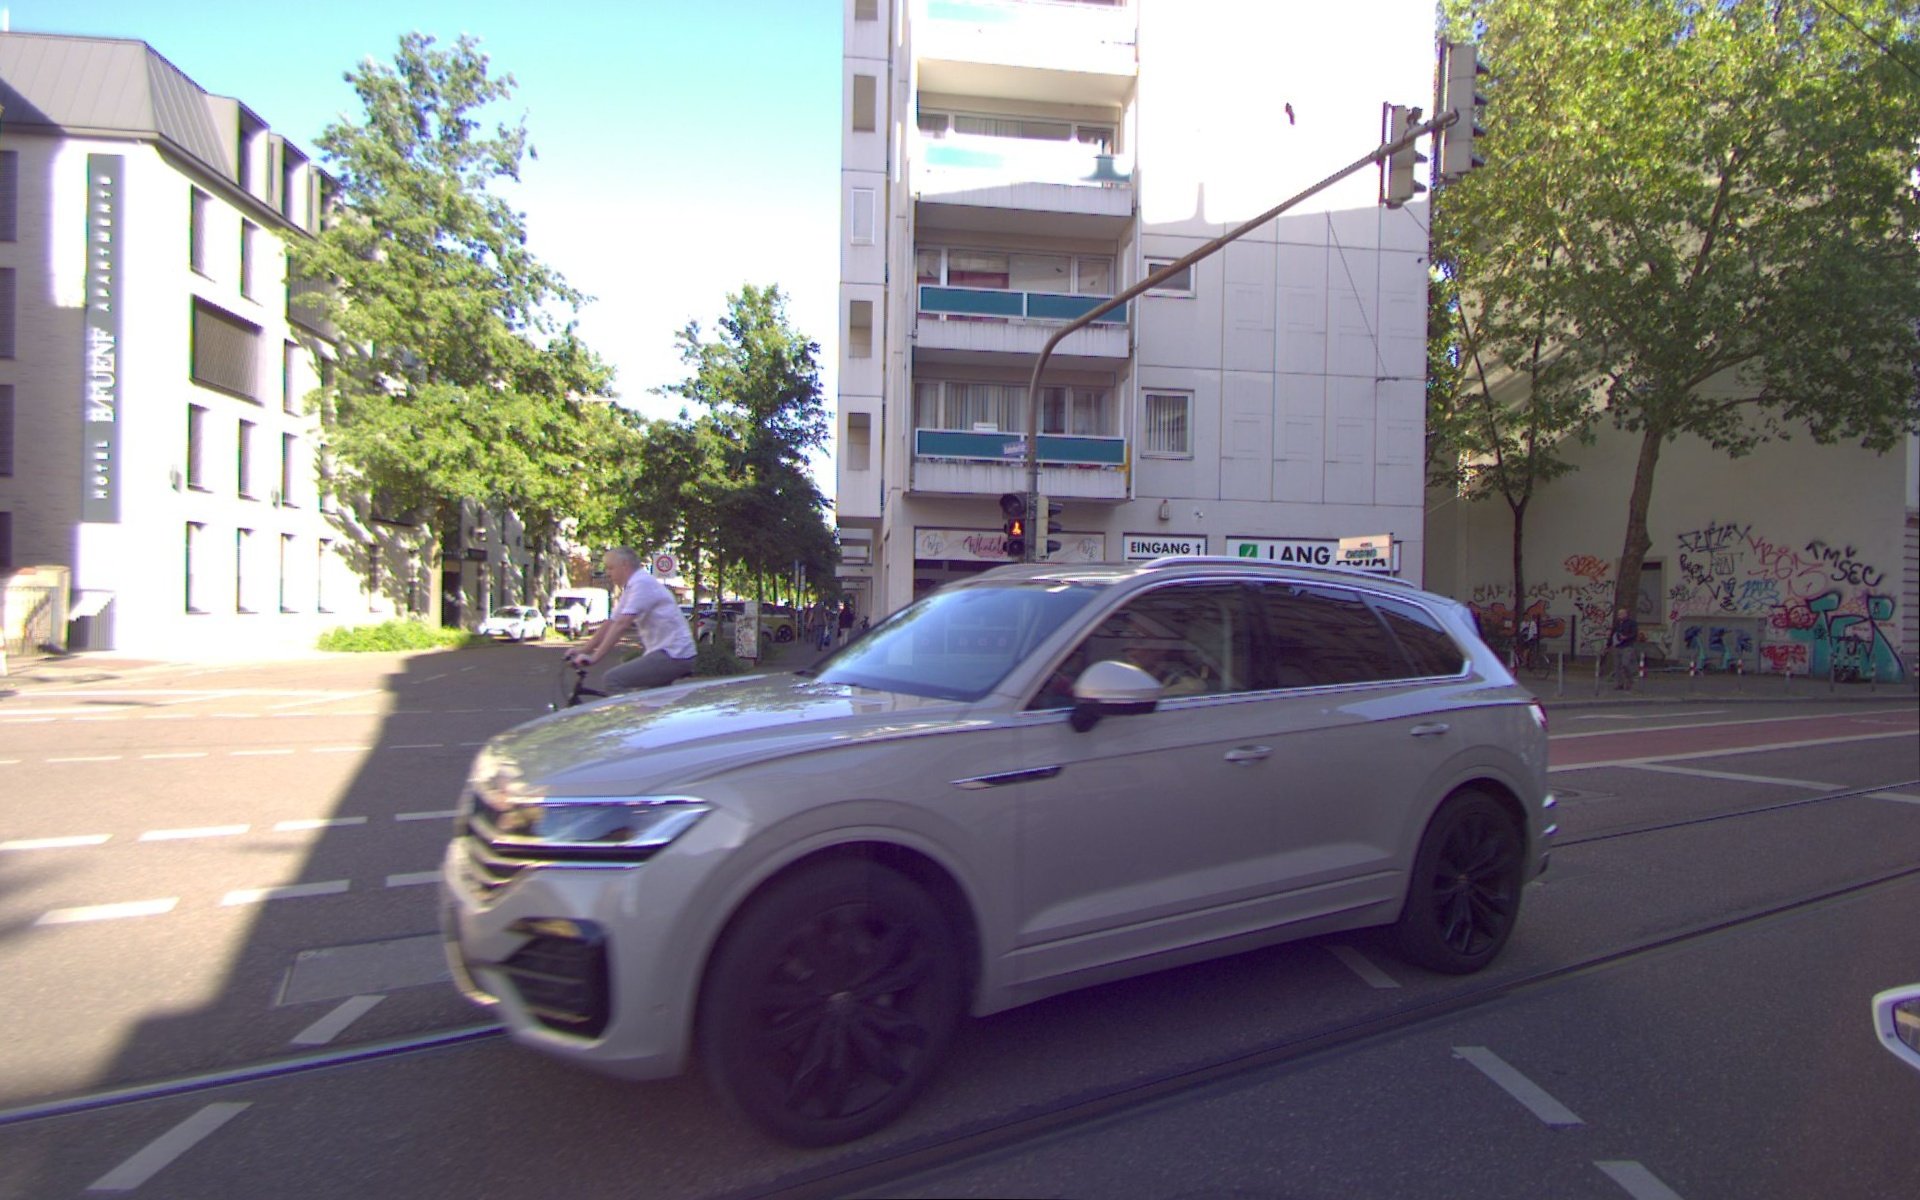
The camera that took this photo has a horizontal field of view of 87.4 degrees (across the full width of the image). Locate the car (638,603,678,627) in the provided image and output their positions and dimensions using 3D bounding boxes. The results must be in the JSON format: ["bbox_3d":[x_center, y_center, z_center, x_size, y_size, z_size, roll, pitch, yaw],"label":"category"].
[{"bbox_3d":[-20.977,1.024,69.822,1.963,1.546,3.996,1,-1,-7],"label":"car"}]

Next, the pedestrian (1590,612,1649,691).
[{"bbox_3d":[15.359,1.193,23.398,1.010,1.789,0.681,1,0,-19],"label":"pedestrian"}]

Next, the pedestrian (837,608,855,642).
[{"bbox_3d":[-5.261,1.148,46.338,0.703,1.514,0.744,1,0,1],"label":"pedestrian"}]

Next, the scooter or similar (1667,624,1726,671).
[{"bbox_3d":[20.887,1.329,28.481,0.762,1.274,1.217,1,0,-41],"label":"scooter or similar"}]

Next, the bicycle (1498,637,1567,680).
[{"bbox_3d":[15.112,1.527,26.588,0.652,1.048,1.921,1,-1,-3],"label":"bicycle"}]

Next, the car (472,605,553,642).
[{"bbox_3d":[-19.240,0.980,43.377,1.962,1.483,3.997,1,-1,-5],"label":"car"}]

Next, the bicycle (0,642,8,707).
[{"bbox_3d":[-14.289,1.040,13.643,0.776,0.921,1.814,1,-1,21],"label":"bicycle"}]

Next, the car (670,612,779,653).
[{"bbox_3d":[-9.415,1.277,40.184,3.954,1.506,1.592,0,2,-31],"label":"car"}]

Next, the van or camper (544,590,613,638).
[{"bbox_3d":[-20.227,0.739,53.517,1.962,2.396,5.471,1,-1,-5],"label":"van or camper"}]

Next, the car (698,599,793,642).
[{"bbox_3d":[-9.806,0.929,45.987,3.964,1.900,1.588,2,-1,-38],"label":"car"}]

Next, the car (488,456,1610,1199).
[{"bbox_3d":[0.564,0.608,4.316,4.511,1.767,1.983,1,-1,-31],"label":"car"}]

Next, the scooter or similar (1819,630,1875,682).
[{"bbox_3d":[23.555,1.480,26.680,1.062,1.289,0.784,-1,3,-31],"label":"scooter or similar"}]

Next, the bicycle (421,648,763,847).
[{"bbox_3d":[-2.434,0.909,6.754,2.060,1.135,0.689,1,0,-31],"label":"bicycle"}]

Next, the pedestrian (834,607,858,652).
[{"bbox_3d":[-3.974,1.025,35.070,0.703,1.514,0.744,1,0,5],"label":"pedestrian"}]

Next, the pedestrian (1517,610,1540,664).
[{"bbox_3d":[18.443,1.193,32.597,0.541,1.740,0.453,1,-1,-31],"label":"pedestrian"}]

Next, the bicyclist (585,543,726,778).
[{"bbox_3d":[-2.104,0.395,6.918,0.769,1.503,0.679,1,-1,-31],"label":"bicyclist"}]

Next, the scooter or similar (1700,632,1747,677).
[{"bbox_3d":[21.891,1.546,28.797,0.762,1.238,0.929,1,0,-42],"label":"scooter or similar"}]
